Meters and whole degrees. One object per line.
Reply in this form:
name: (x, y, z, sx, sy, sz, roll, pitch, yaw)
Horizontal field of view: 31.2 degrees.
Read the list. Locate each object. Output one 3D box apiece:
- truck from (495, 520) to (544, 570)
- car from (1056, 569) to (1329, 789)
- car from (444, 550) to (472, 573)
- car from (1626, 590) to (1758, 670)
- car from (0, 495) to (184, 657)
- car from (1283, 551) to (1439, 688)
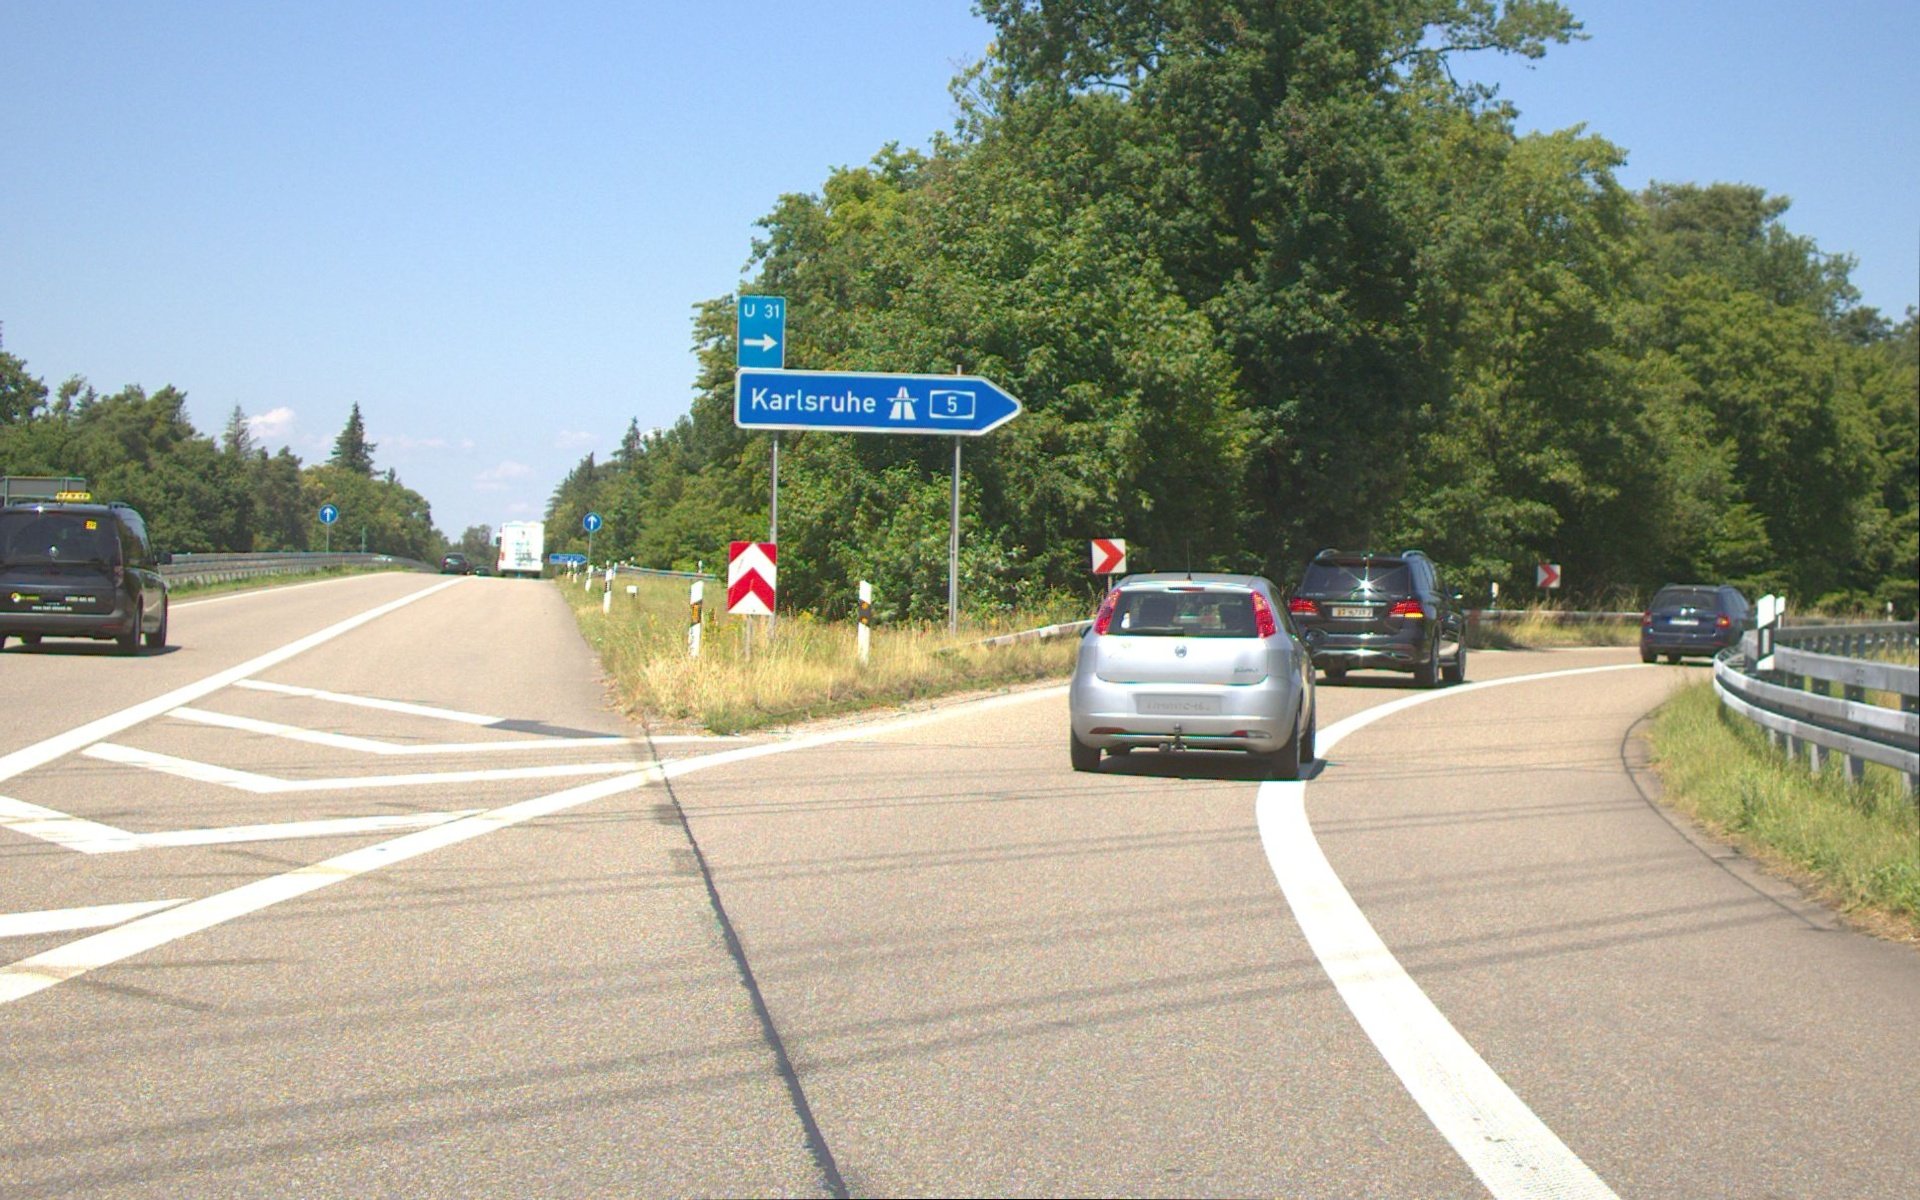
truck: (-24.270, -3.040, 189.562, 2.618, 2.633, 7.669, 1, 1, -7)
car: (1.822, 0.549, 26.010, 1.641, 1.463, 3.417, 3, 1, 10)
car: (-34.439, -2.661, 235.682, 1.712, 1.466, 3.575, 3, 1, -6)
car: (13.321, 0.544, 62.456, 1.642, 1.338, 3.569, 3, 1, 23)
car: (-10.886, -0.324, 42.630, 1.854, 1.880, 5.574, 0, 1, -6)
car: (5.330, 0.241, 45.397, 1.641, 1.648, 3.572, 3, 1, 12)
